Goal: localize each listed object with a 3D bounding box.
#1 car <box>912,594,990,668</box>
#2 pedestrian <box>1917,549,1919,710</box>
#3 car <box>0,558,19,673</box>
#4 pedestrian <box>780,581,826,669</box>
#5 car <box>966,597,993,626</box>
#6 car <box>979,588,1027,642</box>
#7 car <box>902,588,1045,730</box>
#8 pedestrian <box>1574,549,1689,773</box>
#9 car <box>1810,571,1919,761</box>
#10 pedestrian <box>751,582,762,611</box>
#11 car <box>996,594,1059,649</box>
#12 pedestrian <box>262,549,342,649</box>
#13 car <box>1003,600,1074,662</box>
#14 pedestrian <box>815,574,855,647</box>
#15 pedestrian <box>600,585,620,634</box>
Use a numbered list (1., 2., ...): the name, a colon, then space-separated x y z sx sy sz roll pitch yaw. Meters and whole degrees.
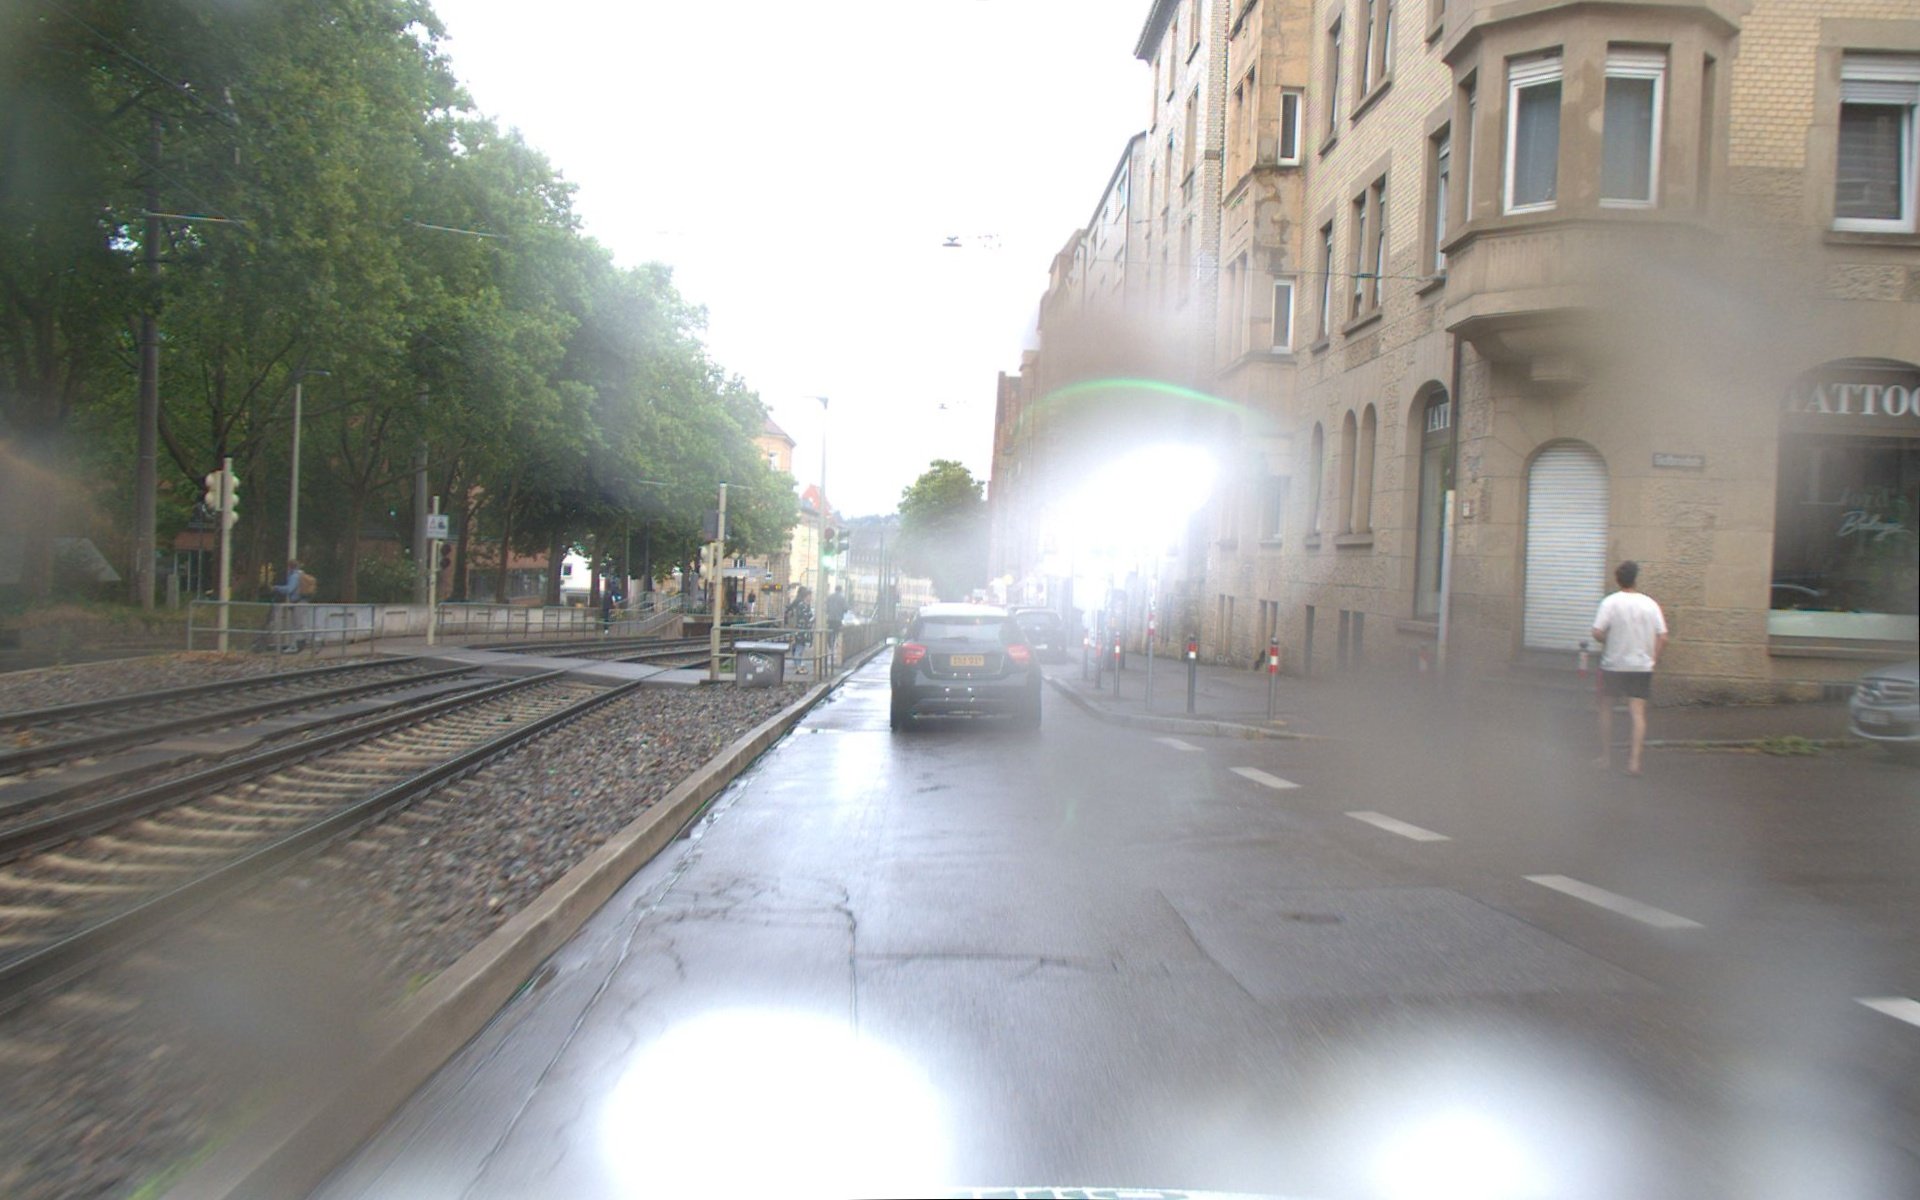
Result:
1. car: -0.240 0.694 39.438 1.749 1.608 3.999 1 0 -1
2. pedestrian: 10.501 0.316 17.372 0.536 1.717 0.627 1 0 3
3. car: -13.326 0.209 20.521 1.628 1.523 3.777 1 1 -10
4. pedestrian: -3.029 0.468 31.962 0.789 1.662 0.892 0 1 -1
5. car: 1.409 0.823 123.727 1.953 2.049 4.000 0 1 0
6. car: 1.705 0.573 66.745 1.724 2.049 3.999 0 1 -1
7. car: 0.104 0.640 20.015 1.548 1.531 3.573 1 0 -2
8. pedestrian: 5.616 0.494 13.866 0.679 1.818 0.759 -1 0 4
9. car: 10.010 0.550 14.406 4.247 1.558 1.892 0 0 1
10. pedestrian: -12.706 -0.205 103.153 0.508 1.747 0.551 3 0 -1
11. car: 2.053 0.626 51.340 1.724 1.606 3.999 0 1 -1
12. pedestrian: -11.903 -0.024 29.955 1.033 1.748 0.904 2 0 0
13. car: 2.208 0.854 47.202 1.790 1.646 3.863 0 1 -1
14. pedestrian: -3.510 0.281 46.363 1.115 2.033 1.171 0 1 -5
15. pedestrian: -13.145 0.354 62.155 0.523 1.784 0.607 3 0 -1
